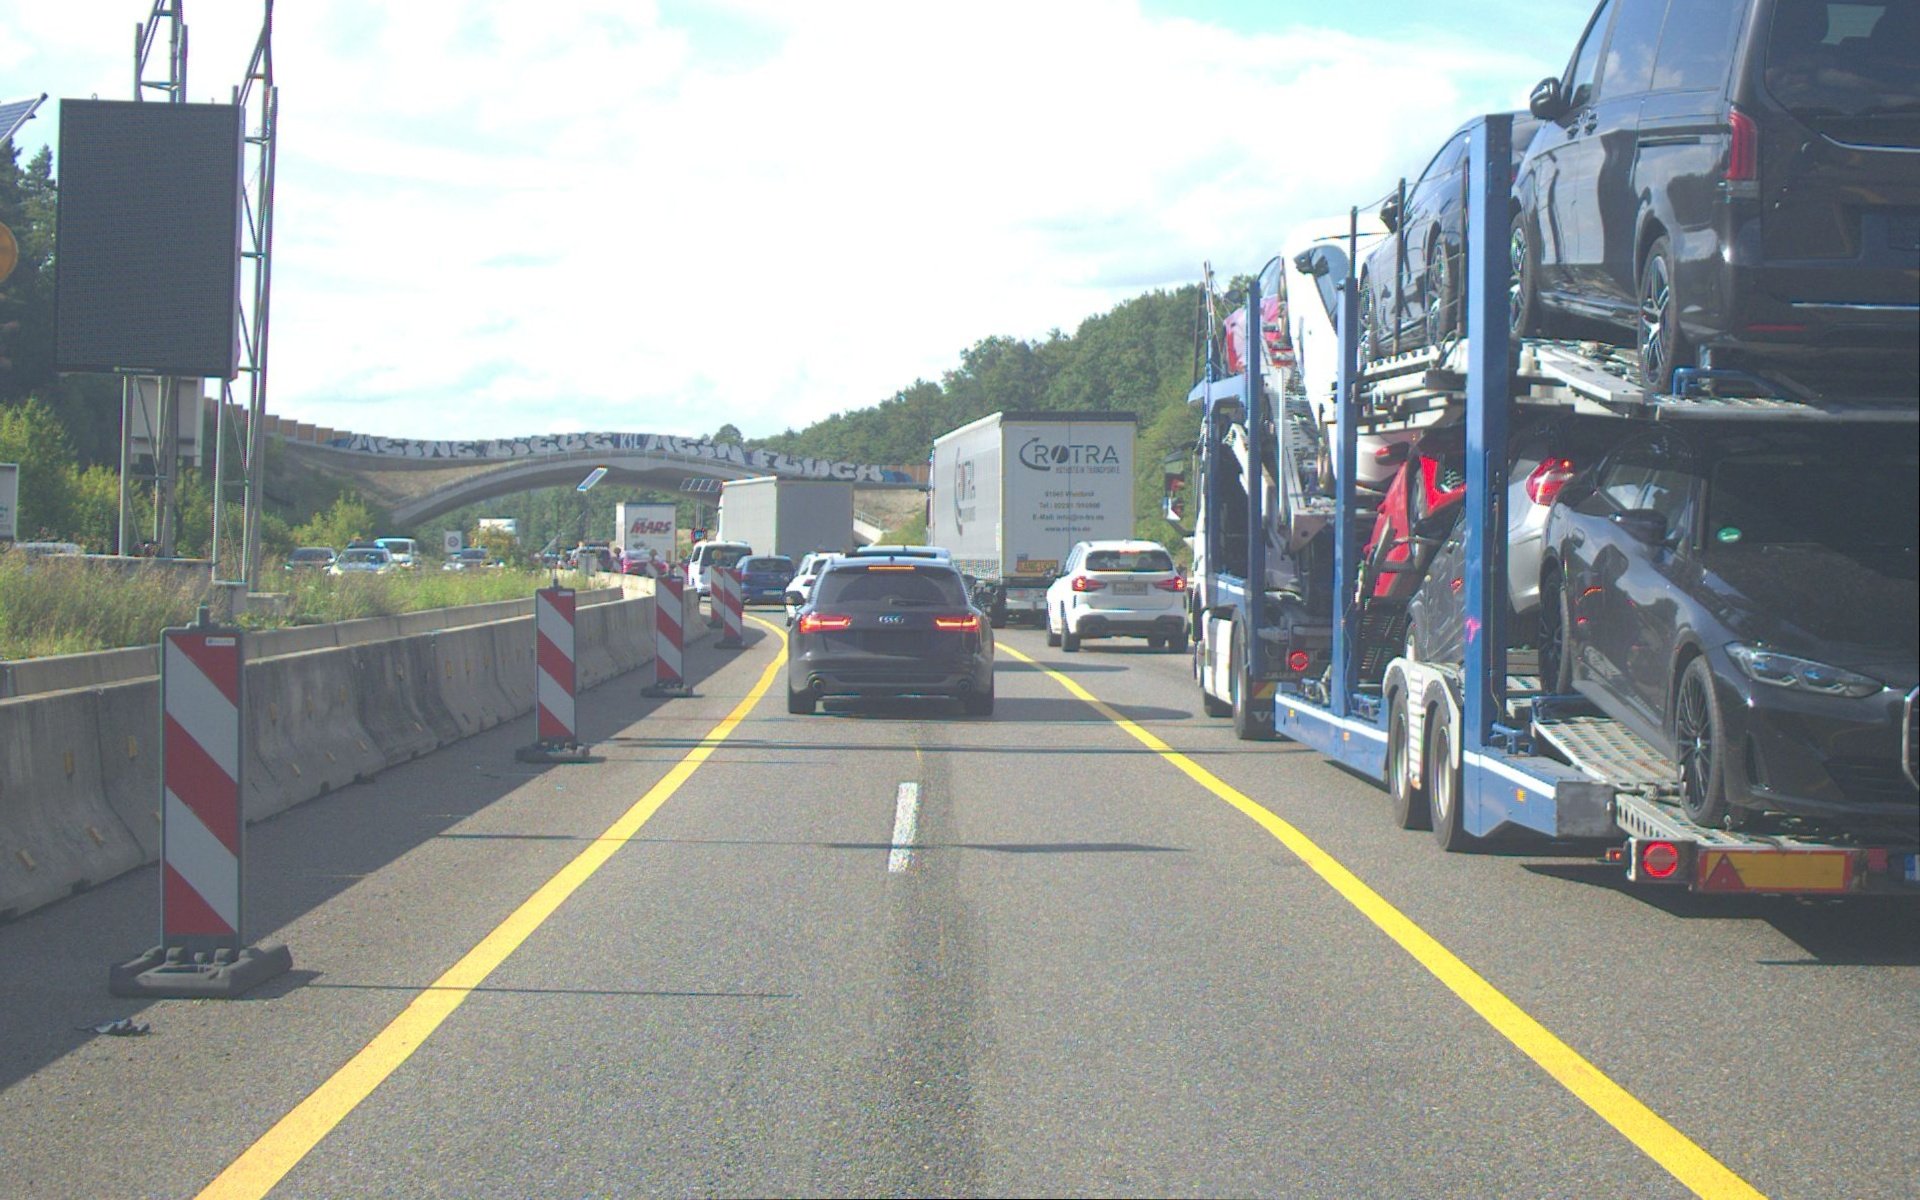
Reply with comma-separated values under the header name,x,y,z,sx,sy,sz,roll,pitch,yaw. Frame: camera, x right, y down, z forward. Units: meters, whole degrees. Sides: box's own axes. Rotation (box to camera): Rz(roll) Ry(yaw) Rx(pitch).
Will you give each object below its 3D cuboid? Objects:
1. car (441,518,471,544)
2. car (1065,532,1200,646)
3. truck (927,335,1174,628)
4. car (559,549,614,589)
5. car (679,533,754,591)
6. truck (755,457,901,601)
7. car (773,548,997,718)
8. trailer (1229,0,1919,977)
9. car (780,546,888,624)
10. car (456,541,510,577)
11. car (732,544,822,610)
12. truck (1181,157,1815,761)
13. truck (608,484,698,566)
name,x,y,z,sx,sy,sz,roll,pitch,yaw
car,-36.345,-4.986,248.146,1.780,1.860,4.001,1,1,-4
car,2.576,-0.189,52.137,1.890,1.637,4.018,1,1,1
truck,1.601,-2.306,71.611,3.677,5.335,16.204,1,1,-3
car,-15.370,-1.298,141.247,1.777,1.597,4.019,1,1,-13
car,-7.192,-1.131,101.201,1.890,1.637,4.019,1,1,-8
truck,-4.573,-2.380,116.489,4.318,4.584,11.127,1,1,-5
car,-0.627,0.255,31.772,1.890,1.441,4.000,1,1,1
trailer,4.182,-0.925,19.657,3.726,4.182,16.228,1,1,-1
car,-2.471,-0.310,66.398,1.890,1.441,4.001,1,1,-5
car,-22.262,-1.918,160.625,1.968,1.597,4.948,1,1,-2
car,-4.718,-0.605,88.290,1.890,1.637,4.019,1,1,-9
truck,4.038,-1.047,28.128,3.761,4.182,7.951,1,1,-1
truck,-15.452,-3.739,172.428,3.653,3.915,11.070,1,1,-9
